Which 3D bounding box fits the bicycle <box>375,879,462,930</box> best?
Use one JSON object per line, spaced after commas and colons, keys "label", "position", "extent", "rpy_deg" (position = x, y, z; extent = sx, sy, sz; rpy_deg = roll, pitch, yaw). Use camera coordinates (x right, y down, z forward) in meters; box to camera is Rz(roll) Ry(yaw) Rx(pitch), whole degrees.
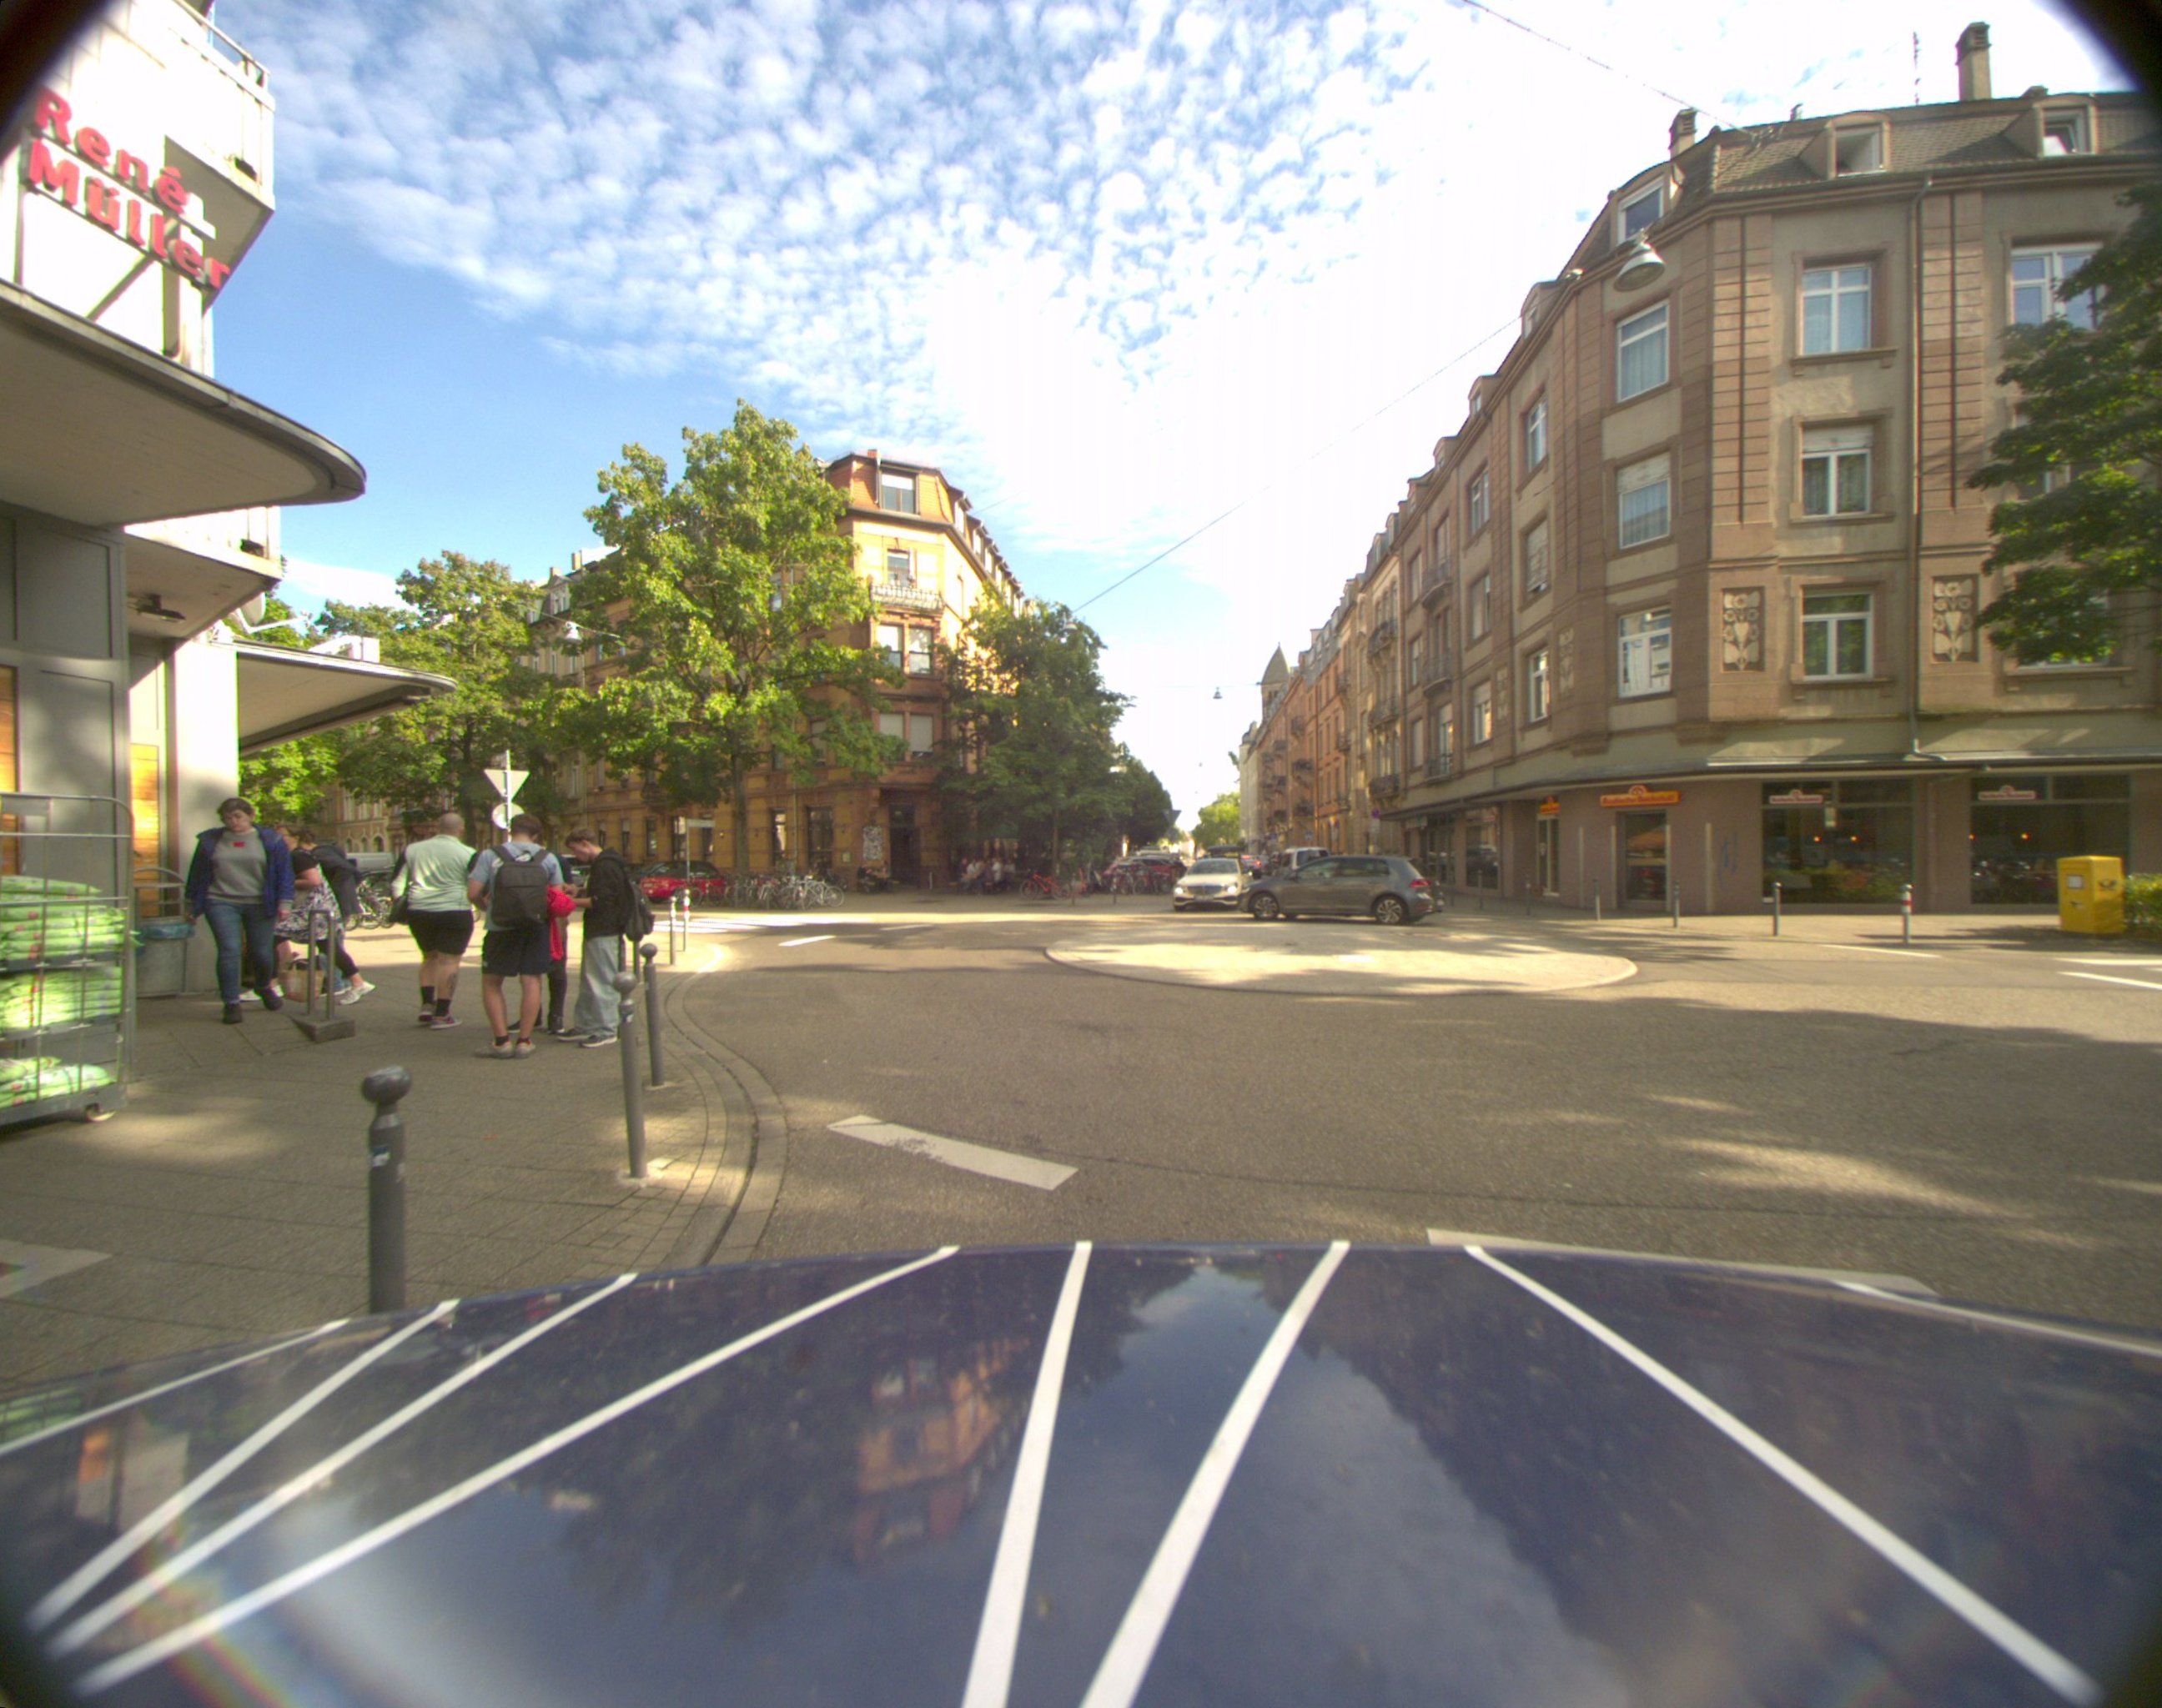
{"label": "bicycle", "position": [-15.631, 1.183, 17.932], "extent": [1.851, 1.169, 0.413], "rpy_deg": [-1, 0, 8]}

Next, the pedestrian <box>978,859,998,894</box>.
{"label": "pedestrian", "position": [-3.507, 0.853, 28.724], "extent": [0.729, 1.307, 0.521], "rpy_deg": [0, 0, -4]}

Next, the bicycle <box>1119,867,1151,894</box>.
{"label": "bicycle", "position": [2.164, 1.045, 30.533], "extent": [0.472, 0.979, 1.861], "rpy_deg": [1, 1, -23]}

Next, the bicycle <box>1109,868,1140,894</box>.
{"label": "bicycle", "position": [1.728, 1.061, 30.346], "extent": [0.418, 0.979, 1.835], "rpy_deg": [1, 1, -23]}

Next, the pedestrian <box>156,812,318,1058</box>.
{"label": "pedestrian", "position": [-6.572, 0.577, 5.975], "extent": [0.767, 1.743, 0.928], "rpy_deg": [-1, 1, -45]}

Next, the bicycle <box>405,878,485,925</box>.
{"label": "bicycle", "position": [-16.273, 1.214, 19.448], "extent": [1.851, 1.169, 0.413], "rpy_deg": [-1, 0, 8]}

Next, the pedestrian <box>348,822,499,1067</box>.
{"label": "pedestrian", "position": [-5.453, 0.667, 6.332], "extent": [0.889, 1.824, 1.044], "rpy_deg": [0, 1, -41]}

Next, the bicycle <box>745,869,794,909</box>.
{"label": "bicycle", "position": [-10.295, 1.150, 25.205], "extent": [0.447, 1.195, 1.714], "rpy_deg": [0, 2, 19]}

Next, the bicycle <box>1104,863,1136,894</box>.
{"label": "bicycle", "position": [1.524, 0.966, 29.933], "extent": [0.476, 1.136, 1.835], "rpy_deg": [1, 1, -23]}

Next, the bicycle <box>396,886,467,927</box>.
{"label": "bicycle", "position": [-16.042, 1.293, 18.770], "extent": [1.421, 0.995, 0.493], "rpy_deg": [-1, 0, 8]}

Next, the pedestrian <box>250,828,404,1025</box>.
{"label": "pedestrian", "position": [-7.020, 0.650, 7.101], "extent": [0.841, 1.743, 0.614], "rpy_deg": [-1, 0, 9]}

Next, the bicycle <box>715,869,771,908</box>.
{"label": "bicycle", "position": [-11.587, 1.157, 26.104], "extent": [0.447, 1.195, 1.715], "rpy_deg": [1, 3, 37]}

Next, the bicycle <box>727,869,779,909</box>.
{"label": "bicycle", "position": [-11.121, 1.163, 25.820], "extent": [0.447, 1.195, 1.715], "rpy_deg": [0, 2, 25]}

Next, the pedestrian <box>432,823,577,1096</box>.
{"label": "pedestrian", "position": [-4.129, 0.691, 5.442], "extent": [0.712, 1.786, 0.634], "rpy_deg": [2, 0, 41]}

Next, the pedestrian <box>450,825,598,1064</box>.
{"label": "pedestrian", "position": [-4.484, 0.687, 6.145], "extent": [0.654, 1.786, 0.660], "rpy_deg": [2, 0, 21]}

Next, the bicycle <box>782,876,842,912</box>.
{"label": "bicycle", "position": [-8.457, 1.242, 23.958], "extent": [1.715, 0.981, 0.447], "rpy_deg": [-3, 3, -44]}

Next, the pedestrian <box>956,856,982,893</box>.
{"label": "pedestrian", "position": [-4.310, 0.785, 29.230], "extent": [0.715, 1.371, 0.671], "rpy_deg": [0, 2, 42]}

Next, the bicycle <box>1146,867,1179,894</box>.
{"label": "bicycle", "position": [3.289, 1.054, 30.813], "extent": [0.472, 0.979, 1.861], "rpy_deg": [1, 1, -23]}

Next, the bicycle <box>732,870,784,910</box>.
{"label": "bicycle", "position": [-10.796, 1.170, 25.447], "extent": [0.447, 1.195, 1.715], "rpy_deg": [0, 2, 25]}

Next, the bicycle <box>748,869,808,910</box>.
{"label": "bicycle", "position": [-9.818, 1.145, 24.660], "extent": [1.715, 1.195, 0.447], "rpy_deg": [-3, 3, -44]}

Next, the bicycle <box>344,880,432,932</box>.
{"label": "bicycle", "position": [-16.019, 1.196, 17.570], "extent": [1.851, 1.169, 0.413], "rpy_deg": [-1, 0, 8]}

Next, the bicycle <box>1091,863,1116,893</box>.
{"label": "bicycle", "position": [0.894, 0.935, 30.211], "extent": [0.475, 1.094, 1.672], "rpy_deg": [1, 1, -17]}

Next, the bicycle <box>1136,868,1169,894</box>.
{"label": "bicycle", "position": [2.870, 1.077, 30.643], "extent": [0.472, 0.979, 1.861], "rpy_deg": [1, 1, -23]}

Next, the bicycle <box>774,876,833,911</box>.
{"label": "bicycle", "position": [-8.820, 1.245, 24.206], "extent": [1.715, 0.981, 0.447], "rpy_deg": [-3, 3, -44]}

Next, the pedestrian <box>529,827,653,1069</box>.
{"label": "pedestrian", "position": [-3.875, 0.707, 6.068], "extent": [0.716, 1.786, 0.631], "rpy_deg": [2, 0, -27]}

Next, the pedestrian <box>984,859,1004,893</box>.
{"label": "pedestrian", "position": [-3.424, 0.860, 29.893], "extent": [0.729, 1.307, 0.607], "rpy_deg": [0, 0, -4]}

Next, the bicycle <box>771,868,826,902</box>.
{"label": "bicycle", "position": [-10.273, 1.114, 27.686], "extent": [0.598, 1.108, 1.803], "rpy_deg": [1, 3, 37]}

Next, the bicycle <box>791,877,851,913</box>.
{"label": "bicycle", "position": [-8.098, 1.255, 23.677], "extent": [1.715, 0.964, 0.447], "rpy_deg": [-3, 3, -44]}

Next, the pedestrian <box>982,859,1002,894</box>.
{"label": "pedestrian", "position": [-3.415, 0.855, 29.248], "extent": [0.729, 1.307, 0.521], "rpy_deg": [0, 0, -4]}

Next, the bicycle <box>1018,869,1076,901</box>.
{"label": "bicycle", "position": [-1.120, 1.033, 25.494], "extent": [1.854, 1.029, 0.684], "rpy_deg": [0, 1, 7]}

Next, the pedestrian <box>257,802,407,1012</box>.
{"label": "pedestrian", "position": [-7.705, 0.514, 7.886], "extent": [0.865, 2.001, 1.032], "rpy_deg": [1, 0, -31]}

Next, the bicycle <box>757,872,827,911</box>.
{"label": "bicycle", "position": [-9.254, 1.187, 24.407], "extent": [2.049, 1.083, 0.447], "rpy_deg": [-3, 3, -44]}

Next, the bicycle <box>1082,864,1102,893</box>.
{"label": "bicycle", "position": [0.423, 0.952, 30.052], "extent": [0.434, 1.094, 1.673], "rpy_deg": [1, 1, -12]}

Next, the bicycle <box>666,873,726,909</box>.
{"label": "bicycle", "position": [-12.918, 1.221, 25.463], "extent": [2.493, 1.090, 0.583], "rpy_deg": [0, 4, 33]}
